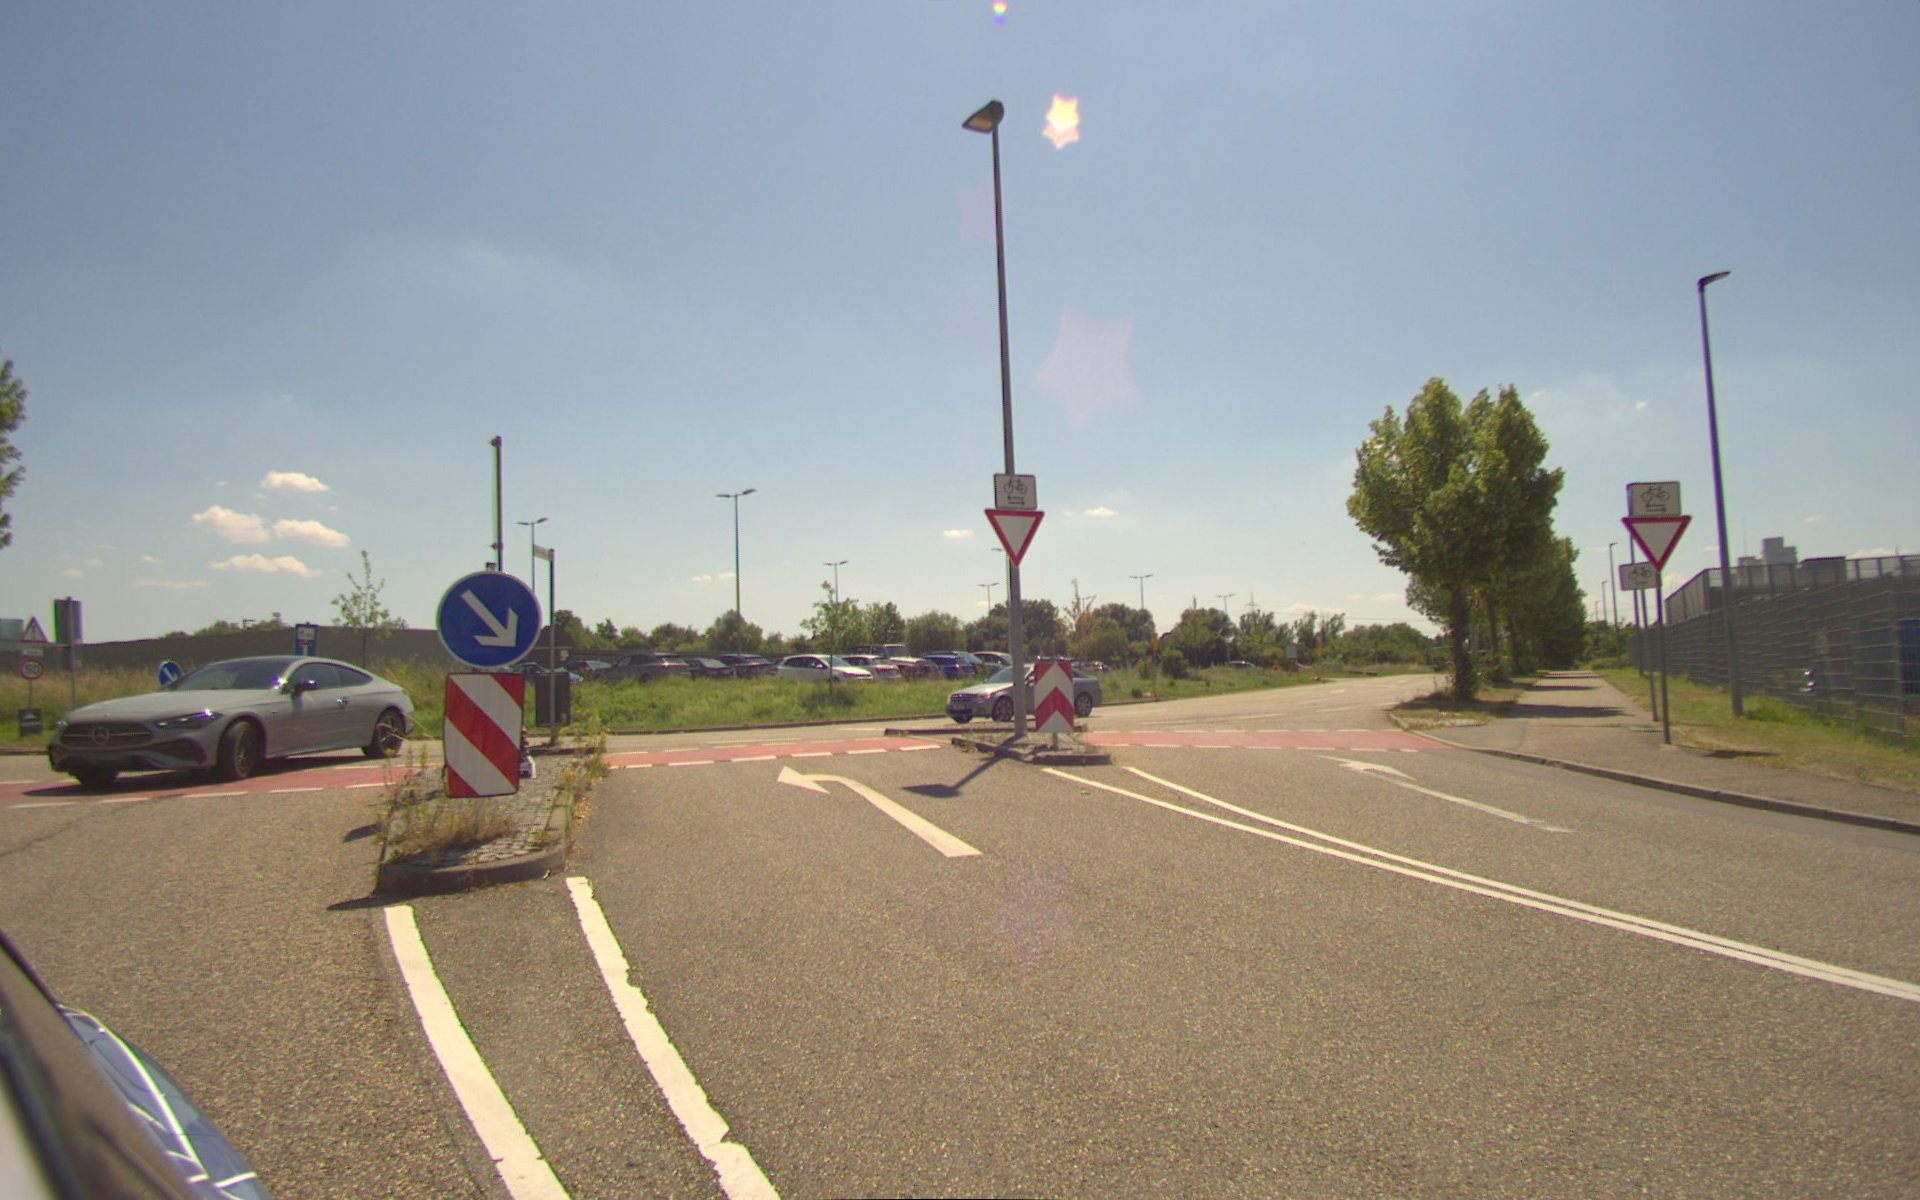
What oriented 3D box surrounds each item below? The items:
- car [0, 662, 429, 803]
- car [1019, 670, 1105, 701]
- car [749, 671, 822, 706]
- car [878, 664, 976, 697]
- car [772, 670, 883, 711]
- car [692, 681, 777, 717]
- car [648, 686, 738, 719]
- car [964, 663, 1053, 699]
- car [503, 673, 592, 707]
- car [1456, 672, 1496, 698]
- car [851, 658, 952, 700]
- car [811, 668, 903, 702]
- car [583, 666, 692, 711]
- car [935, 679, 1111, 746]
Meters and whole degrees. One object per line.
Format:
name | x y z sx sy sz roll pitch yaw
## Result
car | -8.991 1.636 12.771 1.874 1.394 4.626 -2 -7 4
car | 5.244 4.410 52.168 3.987 1.302 1.887 -7 -7 32
car | -8.840 4.501 51.316 3.404 1.586 1.507 -6 -7 28
car | -1.423 3.461 43.423 3.929 1.267 1.570 -4 -5 29
car | -4.807 3.259 36.416 3.865 1.307 1.557 -5 -5 32
car | -10.488 4.580 46.990 3.625 1.610 1.751 -3 -6 30
car | -11.834 4.513 44.857 3.833 1.373 1.636 -3 -6 30
car | 2.250 3.814 47.354 3.833 1.637 1.601 -3 -6 29
car | -18.437 4.026 45.228 3.617 1.457 1.639 -3 -6 24
car | 34.835 5.727 68.239 1.864 1.647 4.548 -6 -7 32
car | -2.397 3.206 40.935 3.741 1.539 1.853 -5 -6 36
car | -3.931 3.258 38.678 3.259 1.191 1.485 -5 -5 31
car | -13.603 3.771 42.650 4.586 1.703 1.759 -5 -8 30
car | 1.657 2.811 25.515 4.426 1.385 1.676 2 -9 -41
